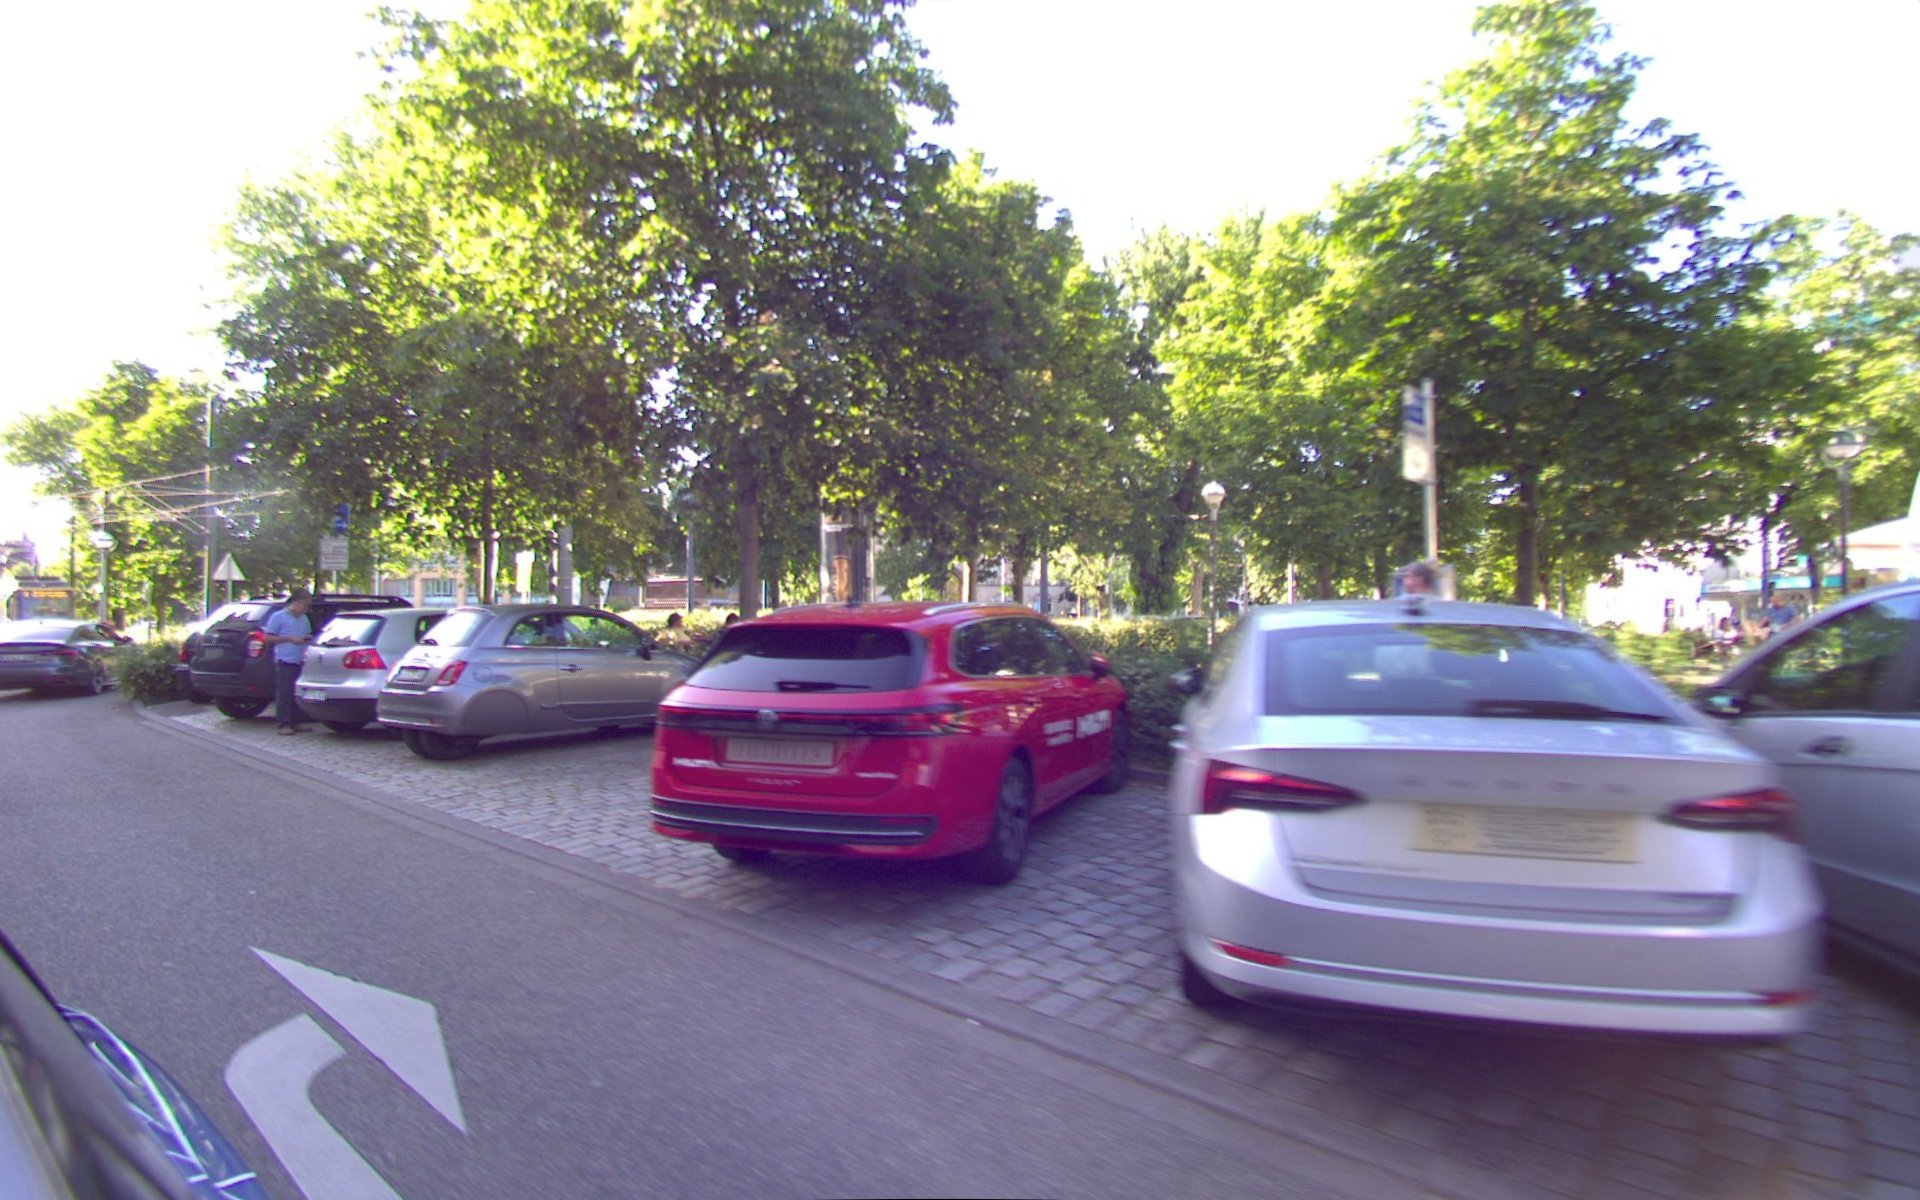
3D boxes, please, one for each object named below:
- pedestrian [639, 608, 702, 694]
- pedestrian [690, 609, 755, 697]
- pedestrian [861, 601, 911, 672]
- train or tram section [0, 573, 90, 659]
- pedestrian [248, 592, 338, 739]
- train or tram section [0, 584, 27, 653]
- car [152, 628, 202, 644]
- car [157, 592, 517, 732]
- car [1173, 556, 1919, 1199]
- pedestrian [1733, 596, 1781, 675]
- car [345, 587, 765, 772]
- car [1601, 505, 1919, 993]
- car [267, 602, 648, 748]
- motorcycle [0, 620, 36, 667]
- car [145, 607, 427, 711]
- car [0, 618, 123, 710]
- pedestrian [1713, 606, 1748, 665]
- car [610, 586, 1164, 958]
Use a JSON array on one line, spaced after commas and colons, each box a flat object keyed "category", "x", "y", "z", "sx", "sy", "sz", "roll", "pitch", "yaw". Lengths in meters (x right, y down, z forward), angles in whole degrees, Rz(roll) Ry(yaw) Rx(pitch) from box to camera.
[{"category": "pedestrian", "x": -4.507, "y": 0.780, "z": 15.756, "sx": 0.698, "sy": 1.283, "sz": 0.640, "roll": 0, "pitch": 0, "yaw": 28}, {"category": "pedestrian", "x": -3.563, "y": 0.784, "z": 15.202, "sx": 0.698, "sy": 1.269, "sz": 0.640, "roll": 0, "pitch": 0, "yaw": 28}, {"category": "pedestrian", "x": -1.644, "y": 0.795, "z": 22.576, "sx": 0.948, "sy": 1.533, "sz": 0.767, "roll": 0, "pitch": 0, "yaw": 12}, {"category": "train or tram section", "x": -45.597, "y": 0.831, "z": 48.936, "sx": 13.166, "sy": 3.713, "sz": 2.921, "roll": -2, "pitch": -1, "yaw": 38}, {"category": "pedestrian", "x": -7.918, "y": 0.746, "z": 12.019, "sx": 0.645, "sy": 1.662, "sz": 0.693, "roll": 0, "pitch": 1, "yaw": 36}, {"category": "train or tram section", "x": -55.968, "y": 1.128, "z": 56.991, "sx": 13.616, "sy": 3.640, "sz": 2.921, "roll": -2, "pitch": -1, "yaw": 38}, {"category": "car", "x": -91.182, "y": 4.224, "z": 117.807, "sx": 5.041, "sy": 1.747, "sz": 2.095, "roll": -1, "pitch": -1, "yaw": 17}, {"category": "car", "x": -8.723, "y": 0.757, "z": 14.553, "sx": 1.989, "sy": 1.680, "sz": 3.965, "roll": -1, "pitch": 0, "yaw": 26}, {"category": "car", "x": 1.843, "y": 0.618, "z": 4.482, "sx": 1.718, "sy": 1.488, "sz": 4.220, "roll": -1, "pitch": 1, "yaw": 12}, {"category": "pedestrian", "x": 16.136, "y": 0.701, "z": 20.497, "sx": 0.662, "sy": 1.558, "sz": 0.560, "roll": -1, "pitch": 0, "yaw": -31}, {"category": "car", "x": -4.188, "y": 0.685, "z": 11.048, "sx": 1.746, "sy": 1.610, "sz": 3.952, "roll": 0, "pitch": 1, "yaw": 35}, {"category": "car", "x": 4.084, "y": 0.475, "z": 3.457, "sx": 1.811, "sy": 1.598, "sz": 3.987, "roll": -1, "pitch": 1, "yaw": 11}, {"category": "car", "x": -6.094, "y": 0.792, "z": 12.730, "sx": 1.797, "sy": 1.459, "sz": 3.956, "roll": 0, "pitch": 1, "yaw": 32}, {"category": "motorcycle", "x": -29.145, "y": 1.314, "z": 30.816, "sx": 1.747, "sy": 1.384, "sz": 0.743, "roll": 0, "pitch": 0, "yaw": 19}, {"category": "car", "x": -11.258, "y": 0.905, "z": 17.295, "sx": 1.853, "sy": 1.481, "sz": 3.991, "roll": 0, "pitch": 1, "yaw": 7}, {"category": "car", "x": -17.295, "y": 1.124, "z": 19.119, "sx": 1.886, "sy": 1.427, "sz": 4.823, "roll": -1, "pitch": 1, "yaw": -35}, {"category": "pedestrian", "x": 16.649, "y": 0.756, "z": 21.875, "sx": 0.557, "sy": 1.245, "sz": 0.665, "roll": 0, "pitch": 1, "yaw": 35}, {"category": "car", "x": 0.045, "y": 0.666, "z": 6.655, "sx": 1.752, "sy": 1.499, "sz": 4.816, "roll": 0, "pitch": 1, "yaw": 21}]
